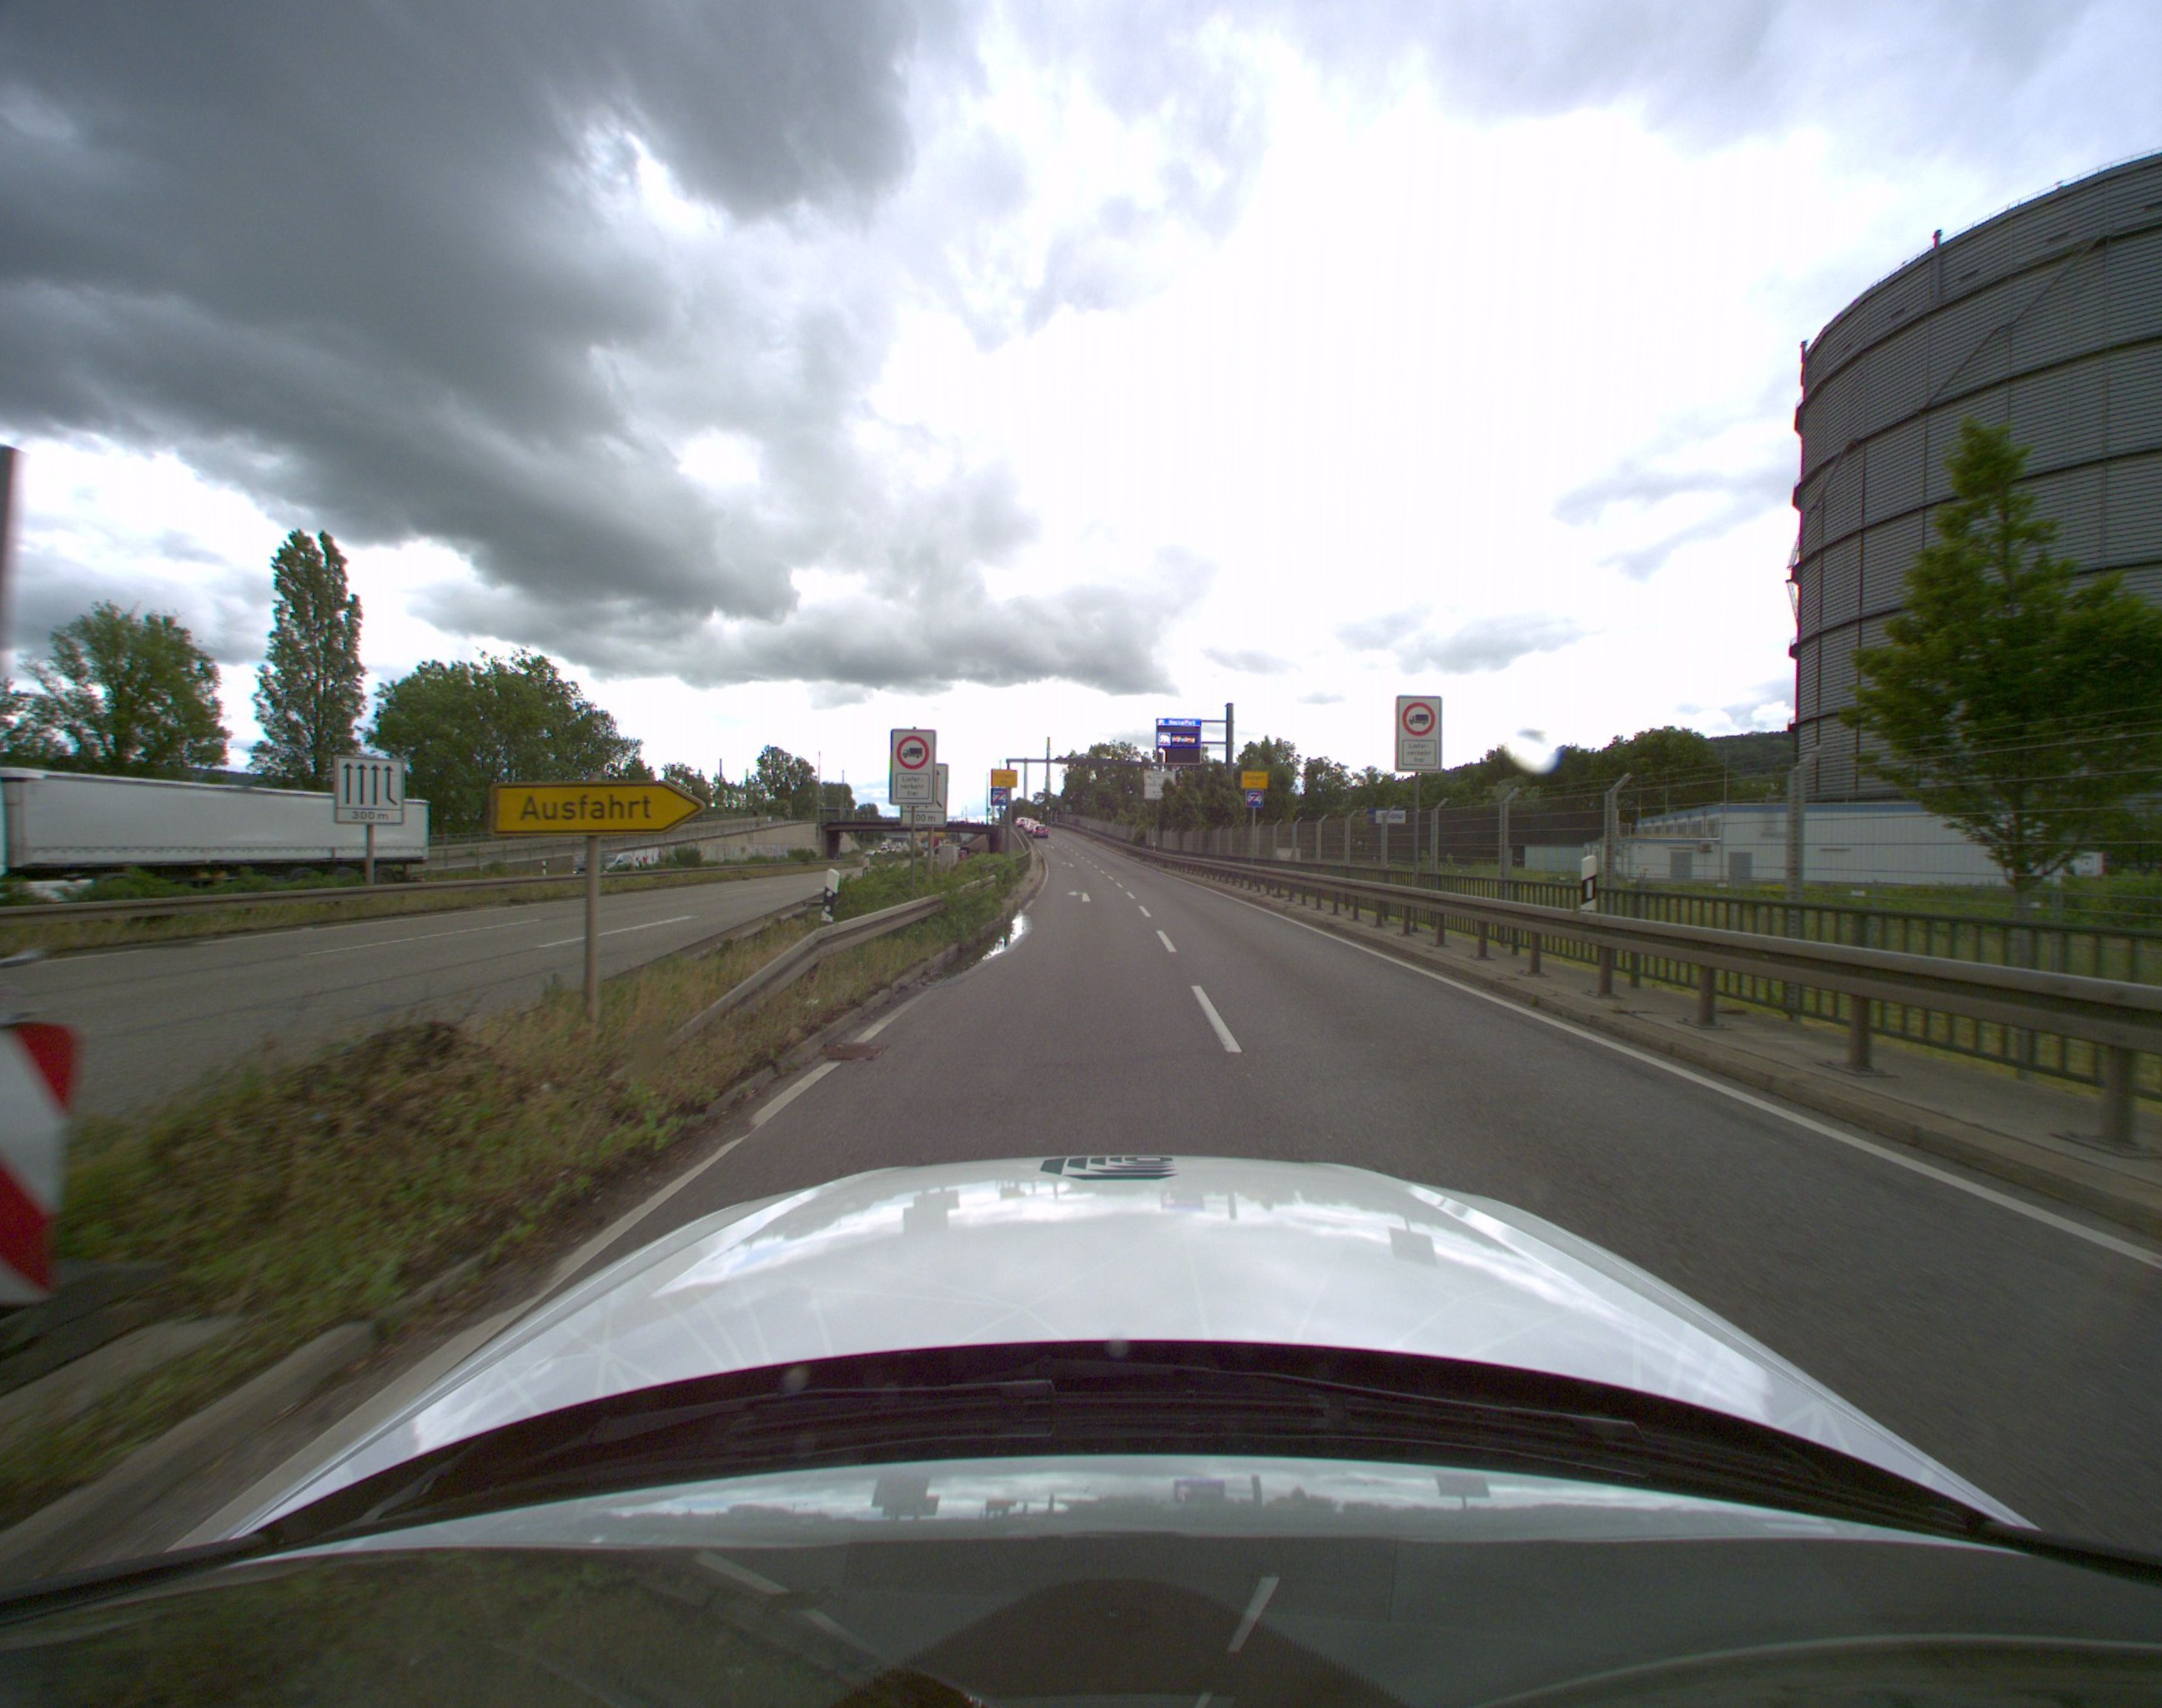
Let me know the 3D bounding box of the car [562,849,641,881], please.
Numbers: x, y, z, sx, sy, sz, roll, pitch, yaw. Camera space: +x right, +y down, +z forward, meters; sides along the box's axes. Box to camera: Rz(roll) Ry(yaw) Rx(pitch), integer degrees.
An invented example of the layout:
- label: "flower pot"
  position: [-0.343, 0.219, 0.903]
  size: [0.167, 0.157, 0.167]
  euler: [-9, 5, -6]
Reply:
- label: "car"
  position: [-24.888, 0.533, 42.437]
  size: [1.990, 1.522, 3.993]
  euler: [1, 0, -5]

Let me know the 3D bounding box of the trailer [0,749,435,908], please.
- label: "trailer"
  position: [-27.631, -0.730, 26.995]
  size: [2.786, 3.948, 13.488]
  euler: [1, 1, -5]

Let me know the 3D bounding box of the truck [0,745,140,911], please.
- label: "truck"
  position: [-26.919, -0.639, 19.500]
  size: [2.786, 3.937, 5.302]
  euler: [1, 0, -6]

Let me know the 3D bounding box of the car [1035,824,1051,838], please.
- label: "car"
  position: [-4.597, -2.808, 98.650]
  size: [1.744, 1.580, 4.085]
  euler: [2, 1, 0]

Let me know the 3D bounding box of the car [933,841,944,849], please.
- label: "car"
  position: [-32.554, -2.013, 186.148]
  size: [1.989, 1.683, 3.996]
  euler: [1, 2, -4]

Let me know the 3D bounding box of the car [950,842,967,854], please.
- label: "car"
  position: [-15.064, -0.760, 100.132]
  size: [1.994, 1.420, 3.987]
  euler: [1, 2, -10]

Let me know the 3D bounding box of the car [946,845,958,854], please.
- label: "car"
  position: [-26.788, -0.949, 168.934]
  size: [1.989, 1.683, 3.996]
  euler: [1, 2, -4]

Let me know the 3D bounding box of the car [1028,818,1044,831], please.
- label: "car"
  position: [-6.070, -4.020, 109.929]
  size: [1.991, 1.602, 3.993]
  euler: [-1, 5, -6]
